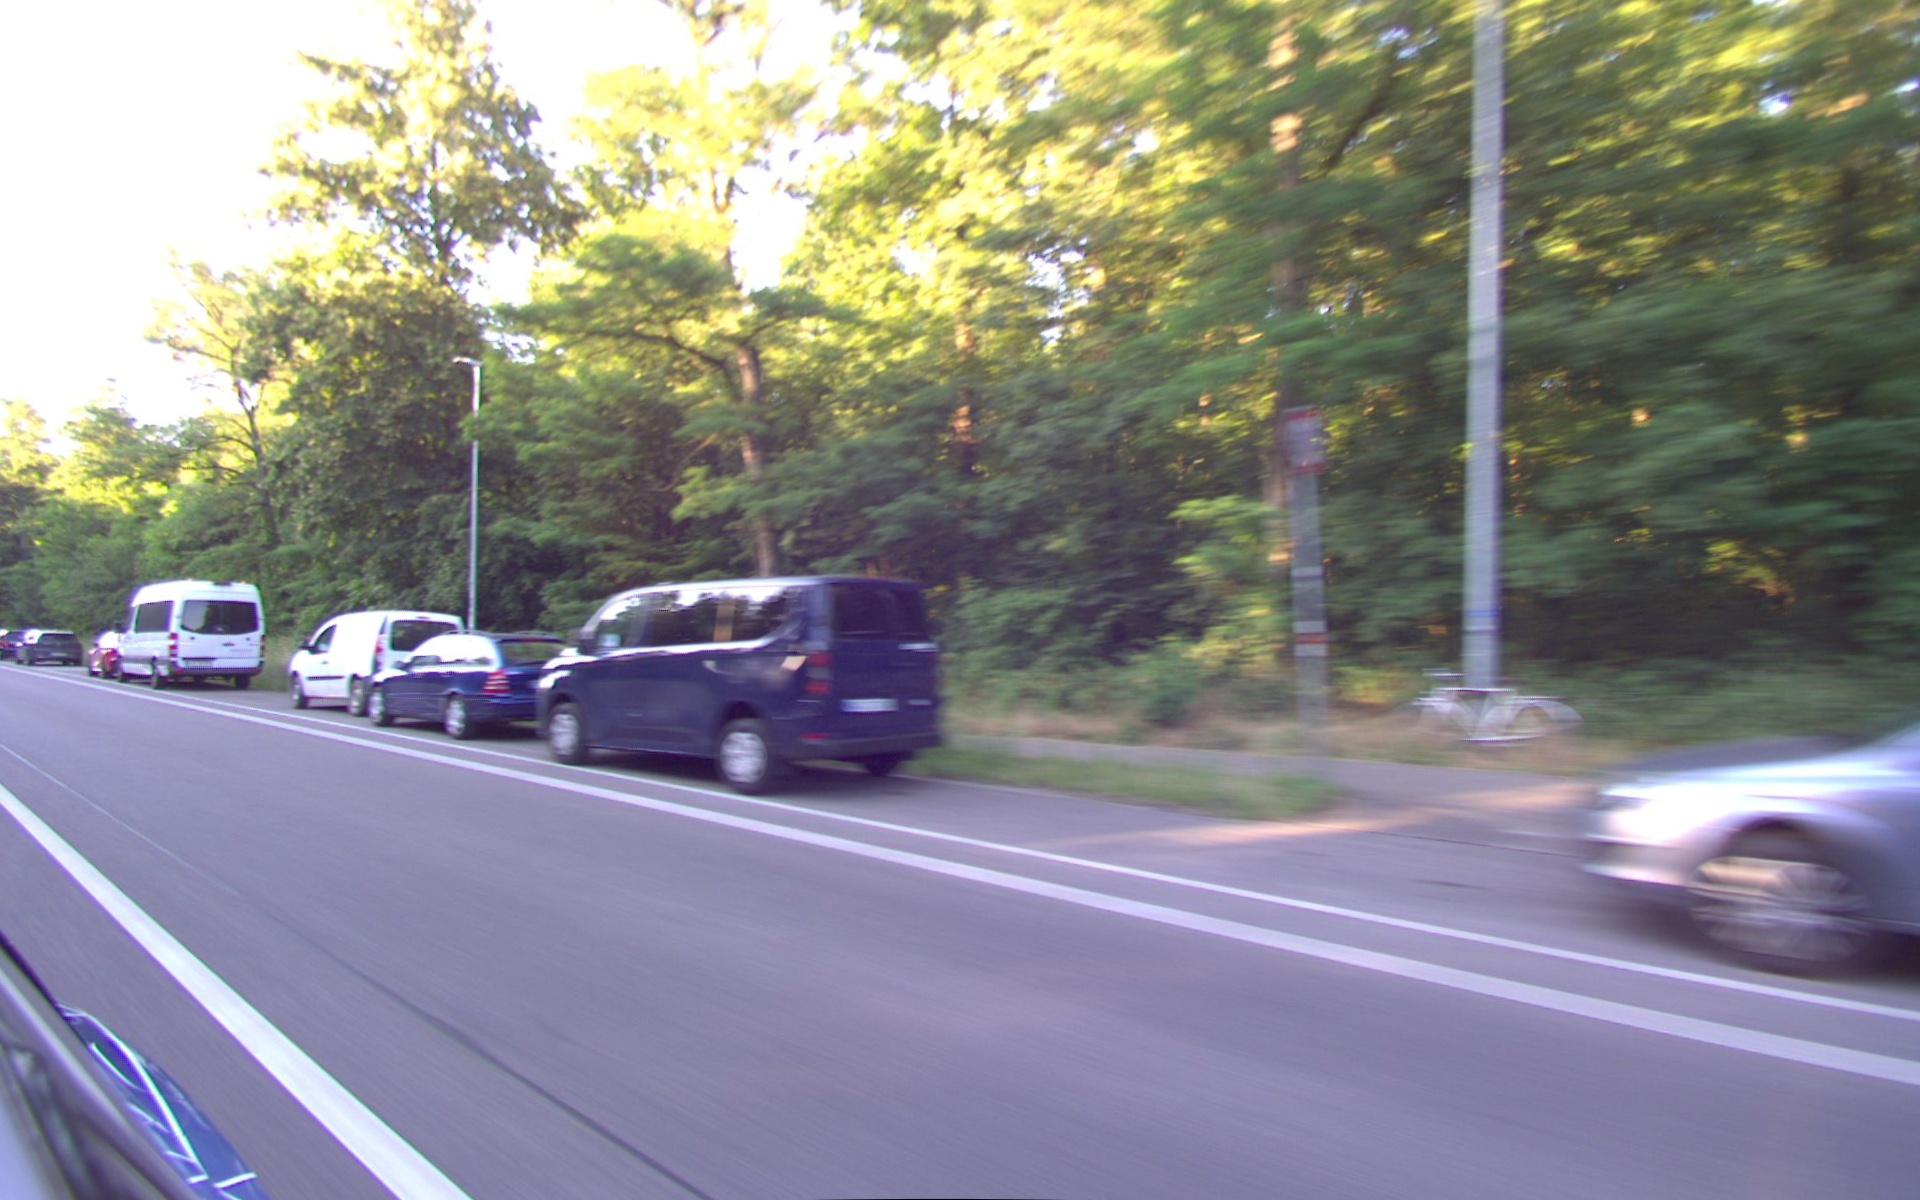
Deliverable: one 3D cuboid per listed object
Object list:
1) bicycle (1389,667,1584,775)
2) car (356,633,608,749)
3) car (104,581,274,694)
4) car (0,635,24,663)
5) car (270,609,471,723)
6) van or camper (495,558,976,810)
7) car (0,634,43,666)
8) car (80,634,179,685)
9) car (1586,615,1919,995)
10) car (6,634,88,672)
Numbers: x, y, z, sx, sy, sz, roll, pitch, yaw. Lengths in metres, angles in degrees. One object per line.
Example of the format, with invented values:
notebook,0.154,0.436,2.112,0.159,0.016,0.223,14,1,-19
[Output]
bicycle,5.387,1.204,10.436,1.717,0.982,0.448,-2,-3,41
car,-7.052,1.223,14.724,4.445,1.444,1.652,-2,-4,41
car,-20.409,1.004,26.617,7.085,2.626,2.057,-2,-5,41
car,-50.236,2.559,52.794,4.049,1.405,1.581,-2,-3,41
car,-10.942,1.171,18.679,4.381,1.872,1.671,-2,-4,38
van or camper,-2.584,0.789,10.686,5.455,2.033,1.982,-2,-4,39
car,-45.576,2.399,48.647,3.654,1.520,1.694,-2,-4,41
car,-25.290,1.747,30.764,4.387,1.441,1.697,-2,-3,42
car,5.121,0.833,4.069,4.242,1.513,1.652,-1,-3,39
car,-37.937,2.196,42.028,4.224,1.474,1.827,-2,-4,39
